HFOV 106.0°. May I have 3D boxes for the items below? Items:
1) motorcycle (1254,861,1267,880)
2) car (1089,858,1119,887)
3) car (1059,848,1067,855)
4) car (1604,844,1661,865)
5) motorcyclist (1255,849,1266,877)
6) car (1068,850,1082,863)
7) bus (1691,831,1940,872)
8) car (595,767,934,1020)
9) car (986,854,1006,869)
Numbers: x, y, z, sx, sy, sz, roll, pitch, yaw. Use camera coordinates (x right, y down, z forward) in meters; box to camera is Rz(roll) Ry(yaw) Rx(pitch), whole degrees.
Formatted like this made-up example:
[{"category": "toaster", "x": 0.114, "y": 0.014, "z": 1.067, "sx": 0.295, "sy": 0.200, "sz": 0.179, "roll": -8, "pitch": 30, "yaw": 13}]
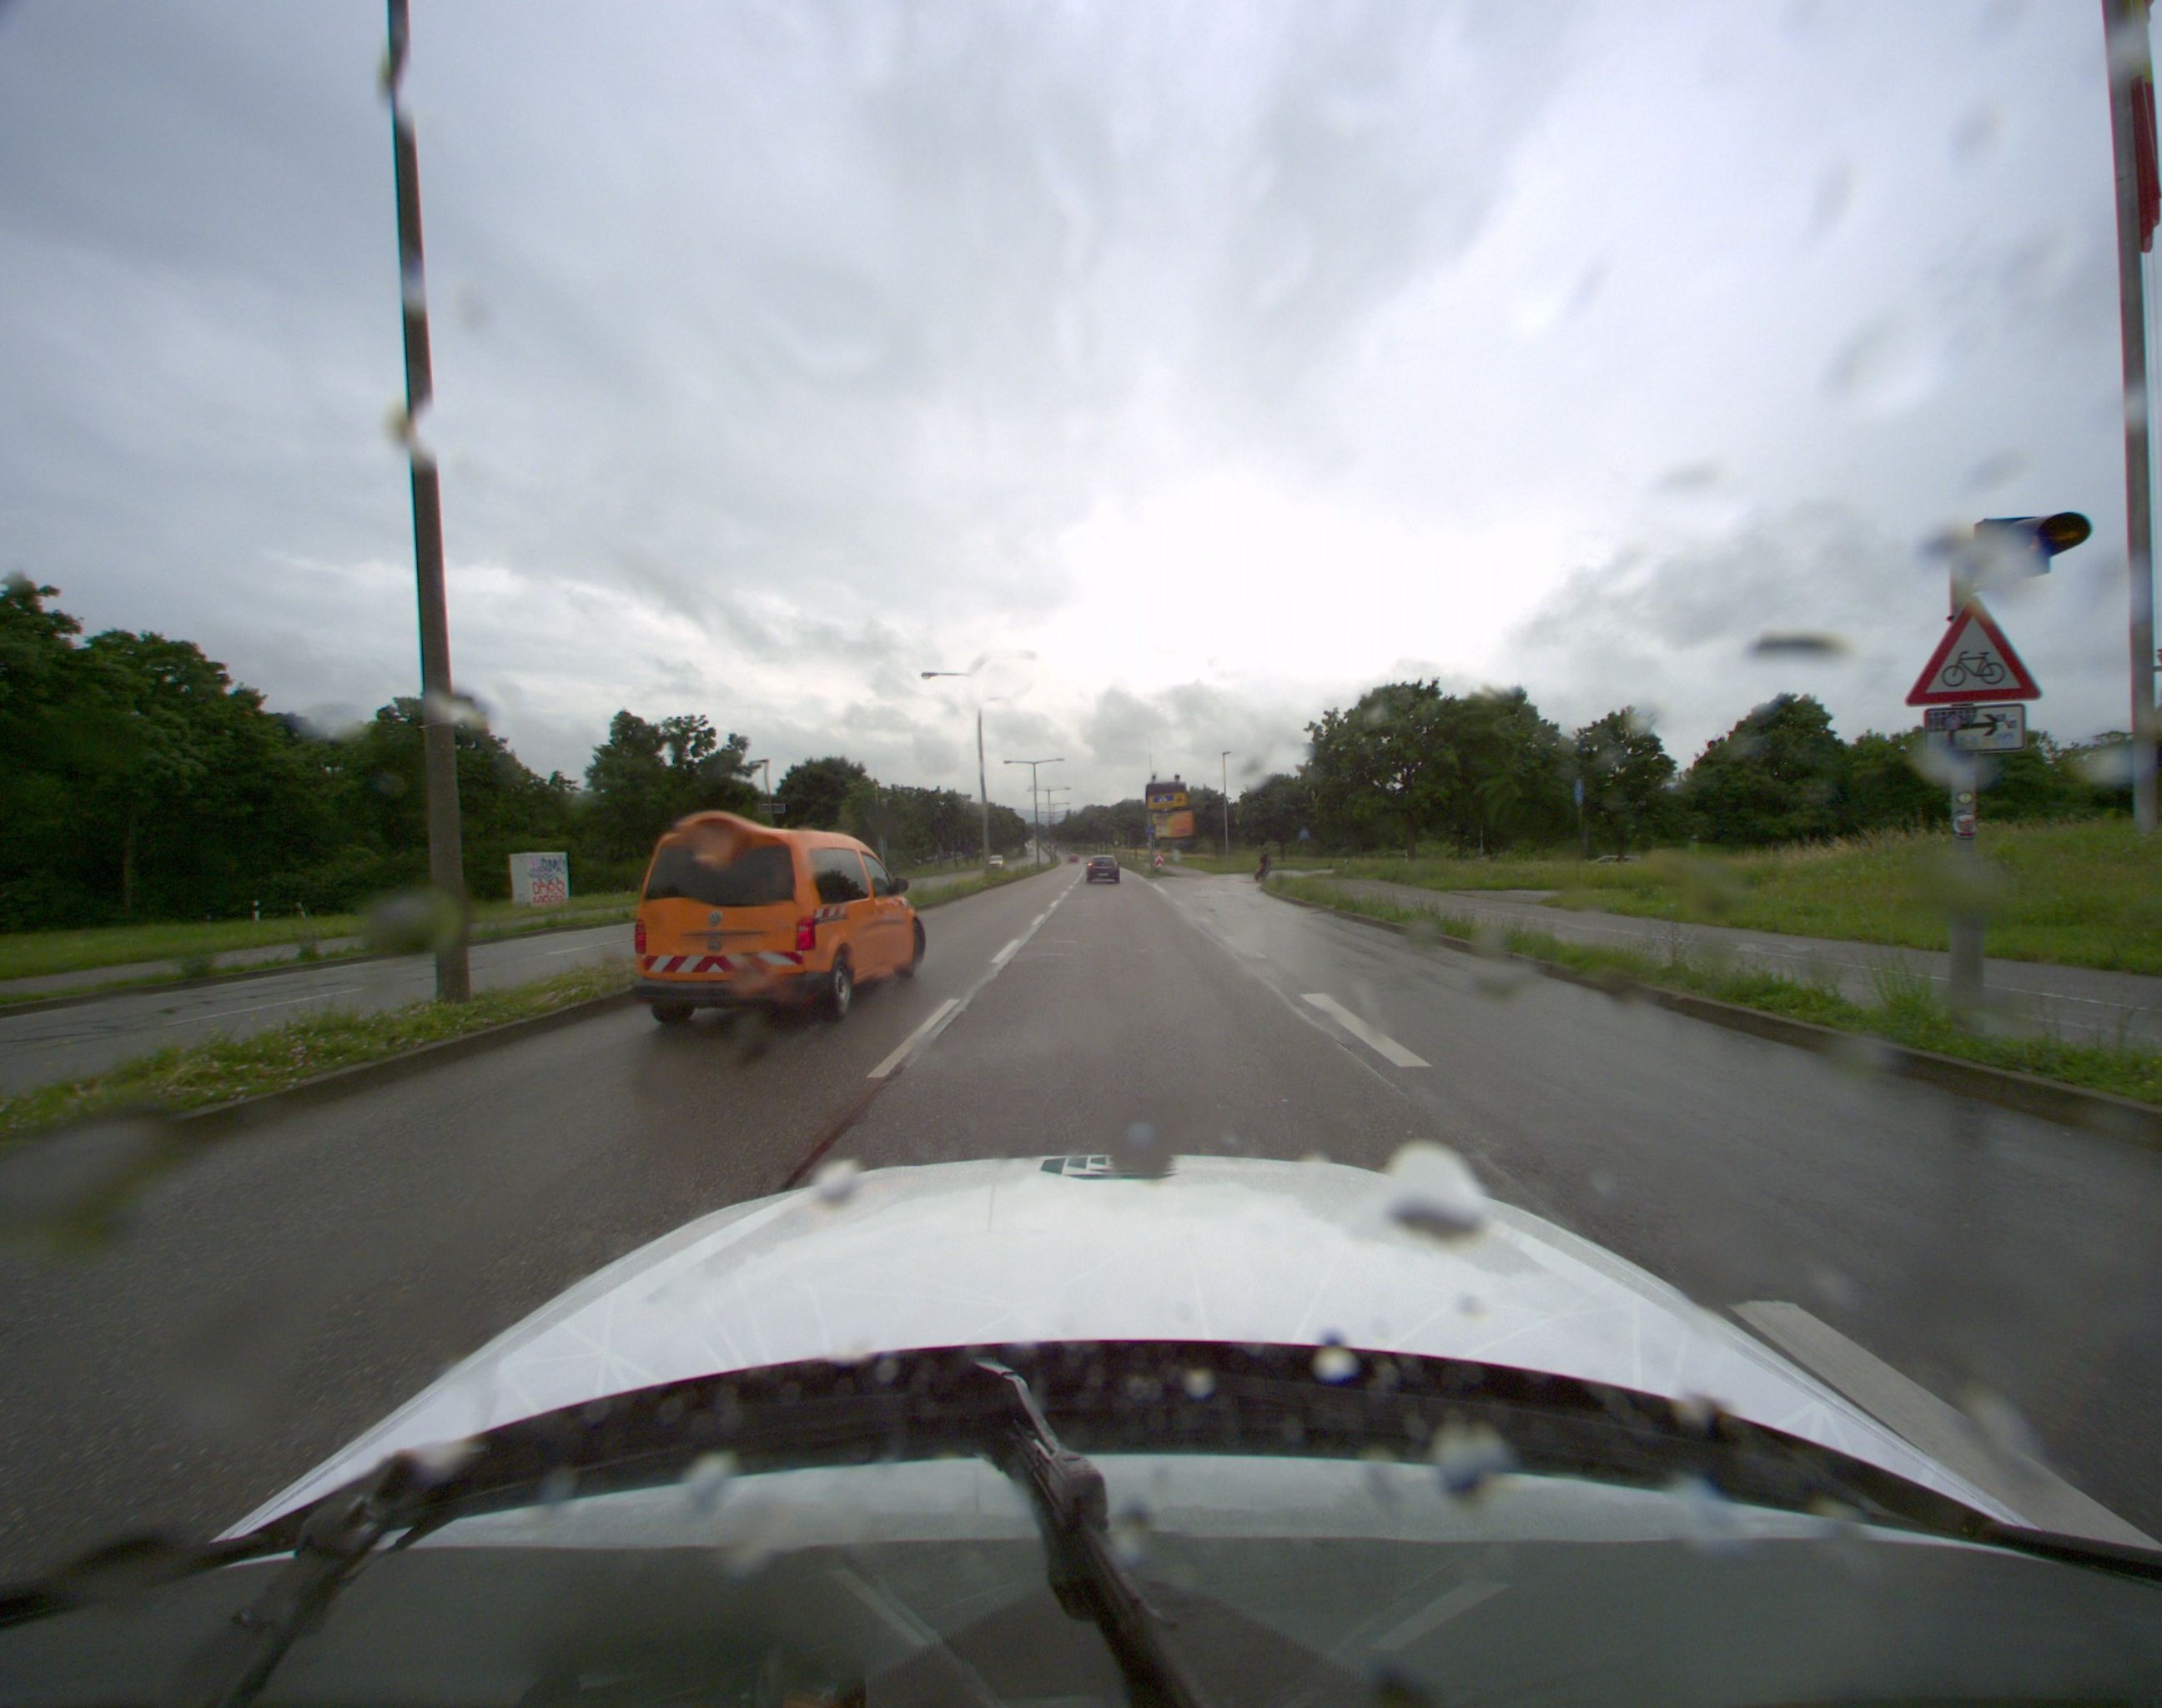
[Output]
[{"category": "motorcycle", "x": 11.008, "y": 1.027, "z": 49.856, "sx": 0.596, "sy": 1.093, "sz": 1.740, "roll": -1, "pitch": 1, "yaw": 17}, {"category": "car", "x": 1.170, "y": 0.927, "z": 42.297, "sx": 1.458, "sy": 1.328, "sz": 3.758, "roll": -1, "pitch": 1, "yaw": 0}, {"category": "car", "x": -5.688, "y": -0.803, "z": 257.529, "sx": 2.510, "sy": 2.052, "sz": 5.287, "roll": -2, "pitch": 0, "yaw": -3}, {"category": "car", "x": 54.305, "y": 0.066, "z": 80.269, "sx": 4.549, "sy": 1.974, "sz": 2.079, "roll": -1, "pitch": 0, "yaw": 33}, {"category": "motorcyclist", "x": 10.988, "y": 0.536, "z": 49.834, "sx": 0.596, "sy": 1.690, "sz": 0.864, "roll": -1, "pitch": 0, "yaw": 17}, {"category": "car", "x": -0.862, "y": 0.335, "z": 125.238, "sx": 1.987, "sy": 1.879, "sz": 4.000, "roll": -1, "pitch": 0, "yaw": 0}, {"category": "bus", "x": 57.846, "y": -0.110, "z": 65.001, "sx": 14.401, "sy": 2.679, "sz": 2.781, "roll": -2, "pitch": 0, "yaw": 34}, {"category": "car", "x": -2.983, "y": 0.326, "z": 8.965, "sx": 1.728, "sy": 2.019, "sz": 4.850, "roll": 0, "pitch": 0, "yaw": 1}, {"category": "car", "x": -9.933, "y": 0.823, "z": 95.622, "sx": 1.701, "sy": 1.629, "sz": 4.492, "roll": -4, "pitch": 0, "yaw": 0}]
